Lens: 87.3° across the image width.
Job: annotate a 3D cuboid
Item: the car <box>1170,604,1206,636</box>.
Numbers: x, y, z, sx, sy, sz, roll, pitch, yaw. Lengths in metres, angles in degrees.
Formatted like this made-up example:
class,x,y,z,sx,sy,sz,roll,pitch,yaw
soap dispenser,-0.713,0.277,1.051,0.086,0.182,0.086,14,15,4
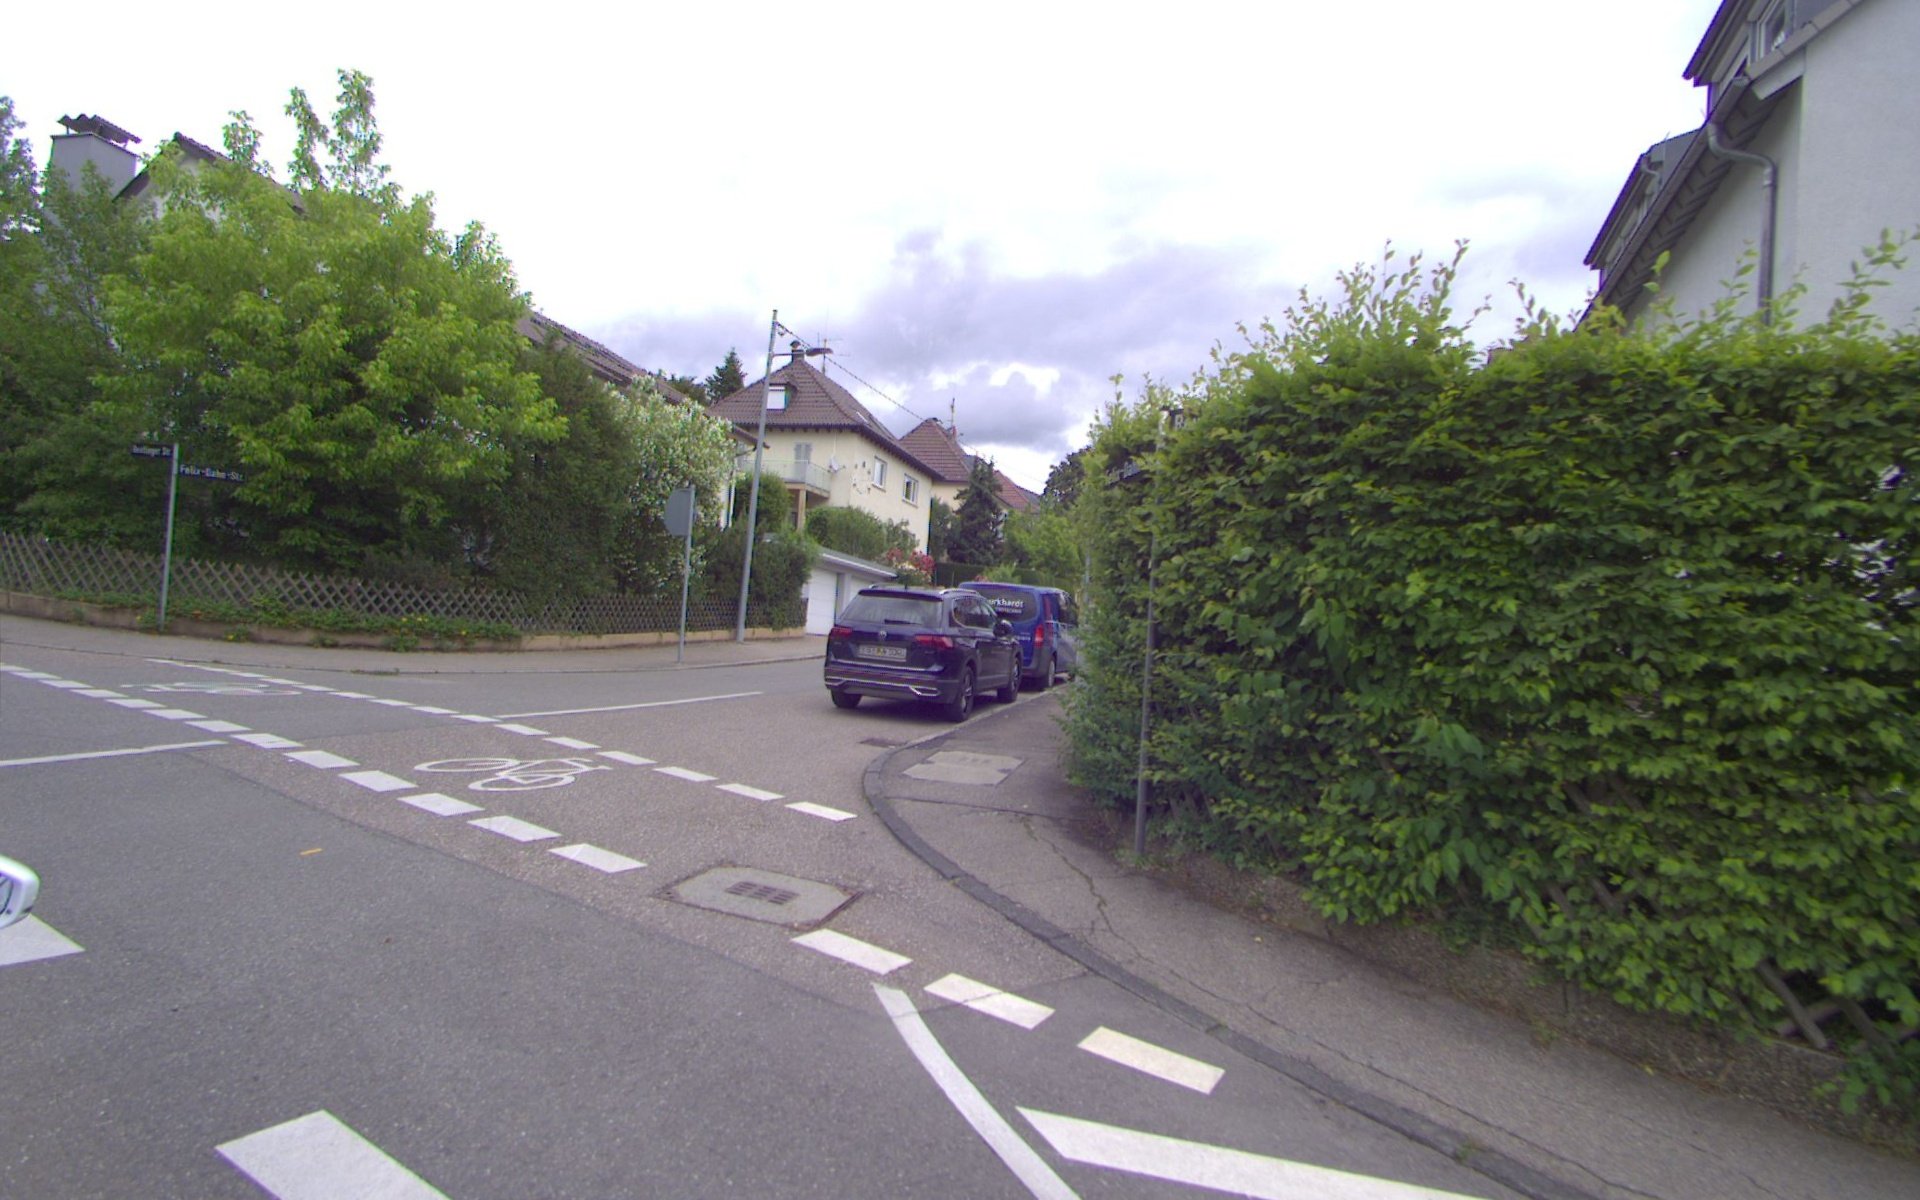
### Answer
class,x,y,z,sx,sy,sz,roll,pitch,yaw
car,15.327,1.363,67.497,1.962,1.644,4.006,8,-3,17

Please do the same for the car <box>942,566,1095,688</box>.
class,x,y,z,sx,sy,sz,roll,pitch,yaw
car,1.287,0.505,19.574,1.851,1.982,4.734,4,0,16

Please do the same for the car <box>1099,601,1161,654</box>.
class,x,y,z,sx,sy,sz,roll,pitch,yaw
car,6.273,1.012,36.786,1.851,1.660,4.139,5,0,13

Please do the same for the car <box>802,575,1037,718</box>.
class,x,y,z,sx,sy,sz,roll,pitch,yaw
car,-0.354,0.590,14.272,1.962,1.453,4.519,8,1,14
